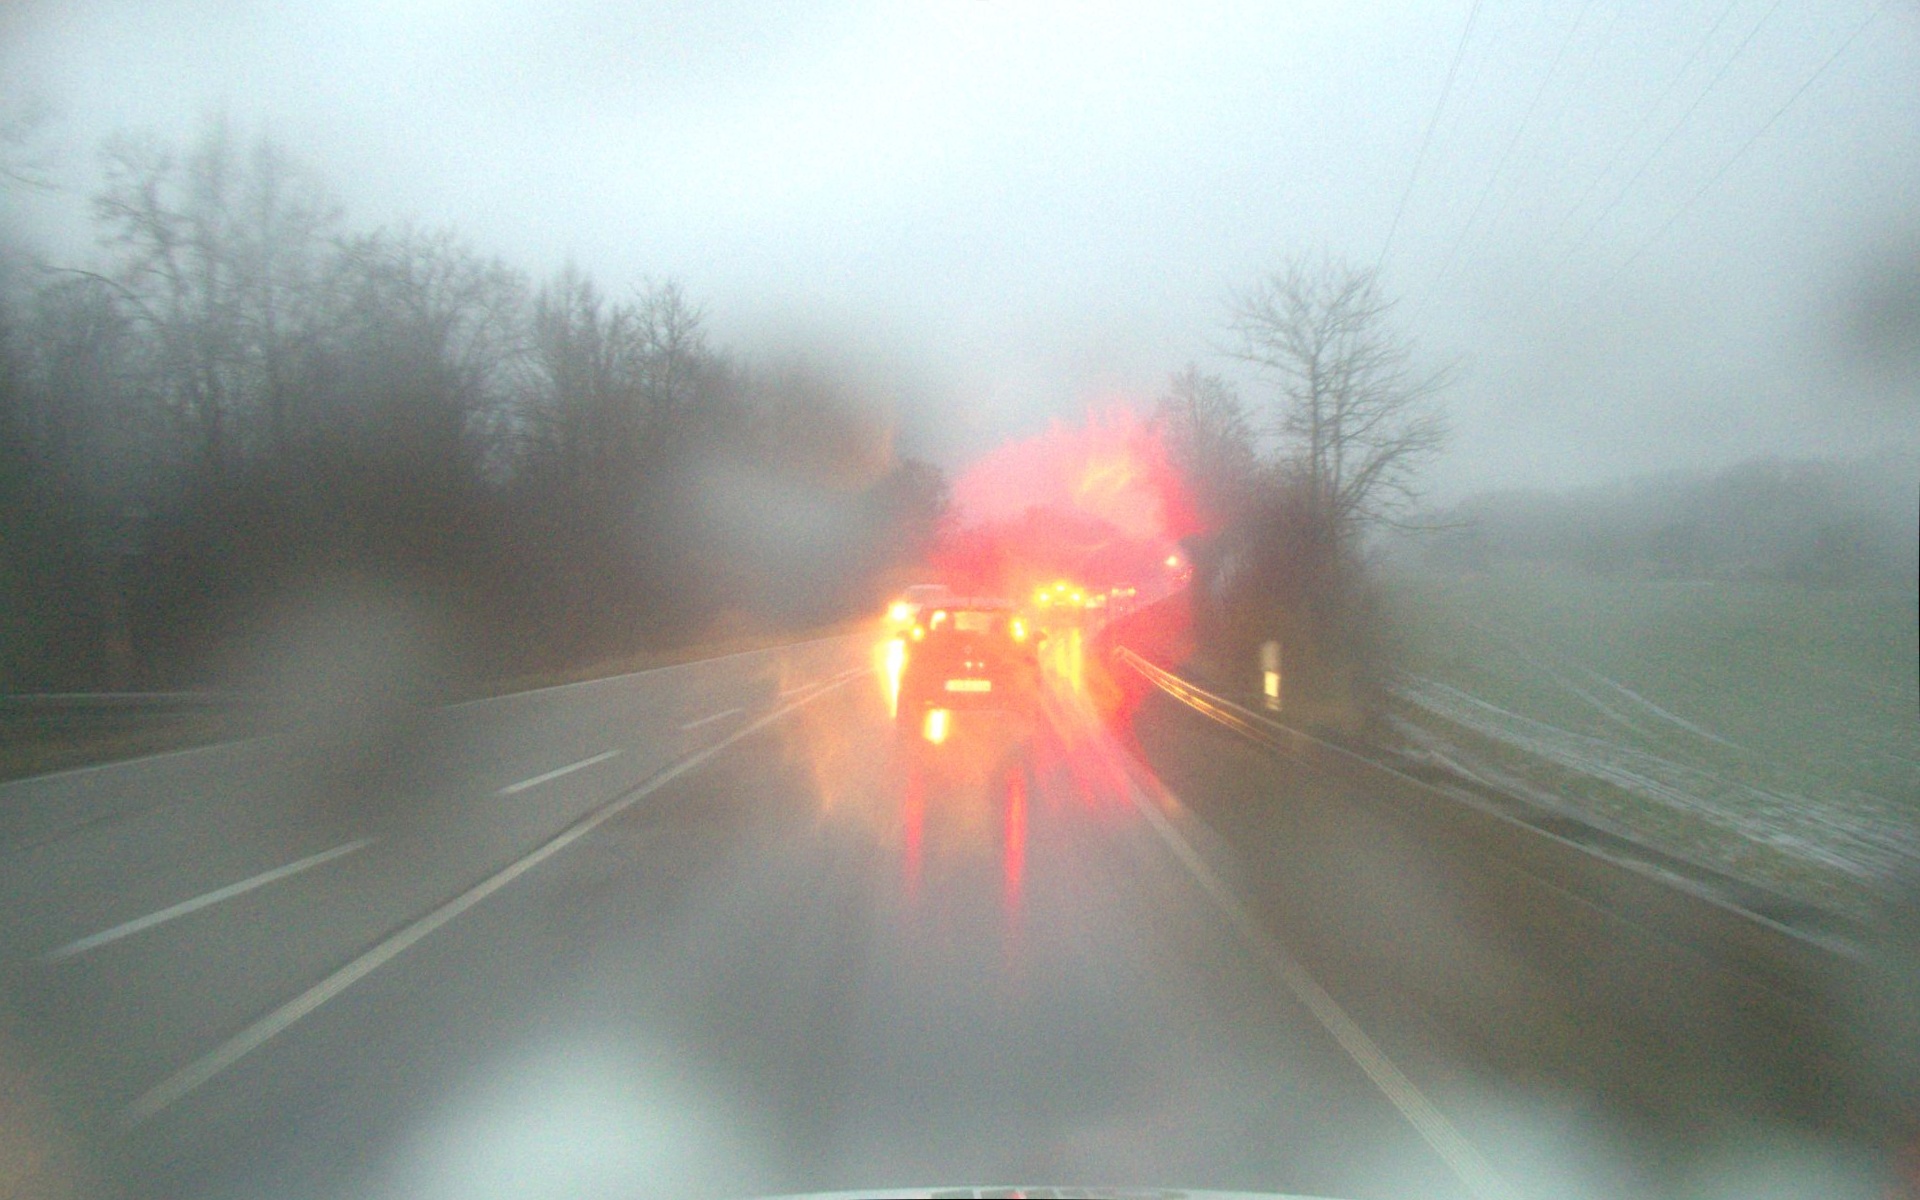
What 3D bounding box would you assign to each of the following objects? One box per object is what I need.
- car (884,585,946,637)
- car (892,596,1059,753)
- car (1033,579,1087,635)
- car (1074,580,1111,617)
[{"bbox_3d":[-1.416,0.341,53.644,1.664,1.603,4.002,0,0,3],"label":"car"},{"bbox_3d":[0.091,0.806,20.137,1.696,1.559,4.040,-4,1,-3],"label":"car"},{"bbox_3d":[4.086,0.265,68.084,1.906,2.048,4.001,-6,0,2],"label":"car"},{"bbox_3d":[7.181,-0.099,90.037,1.905,1.774,4.004,0,4,3],"label":"car"}]
